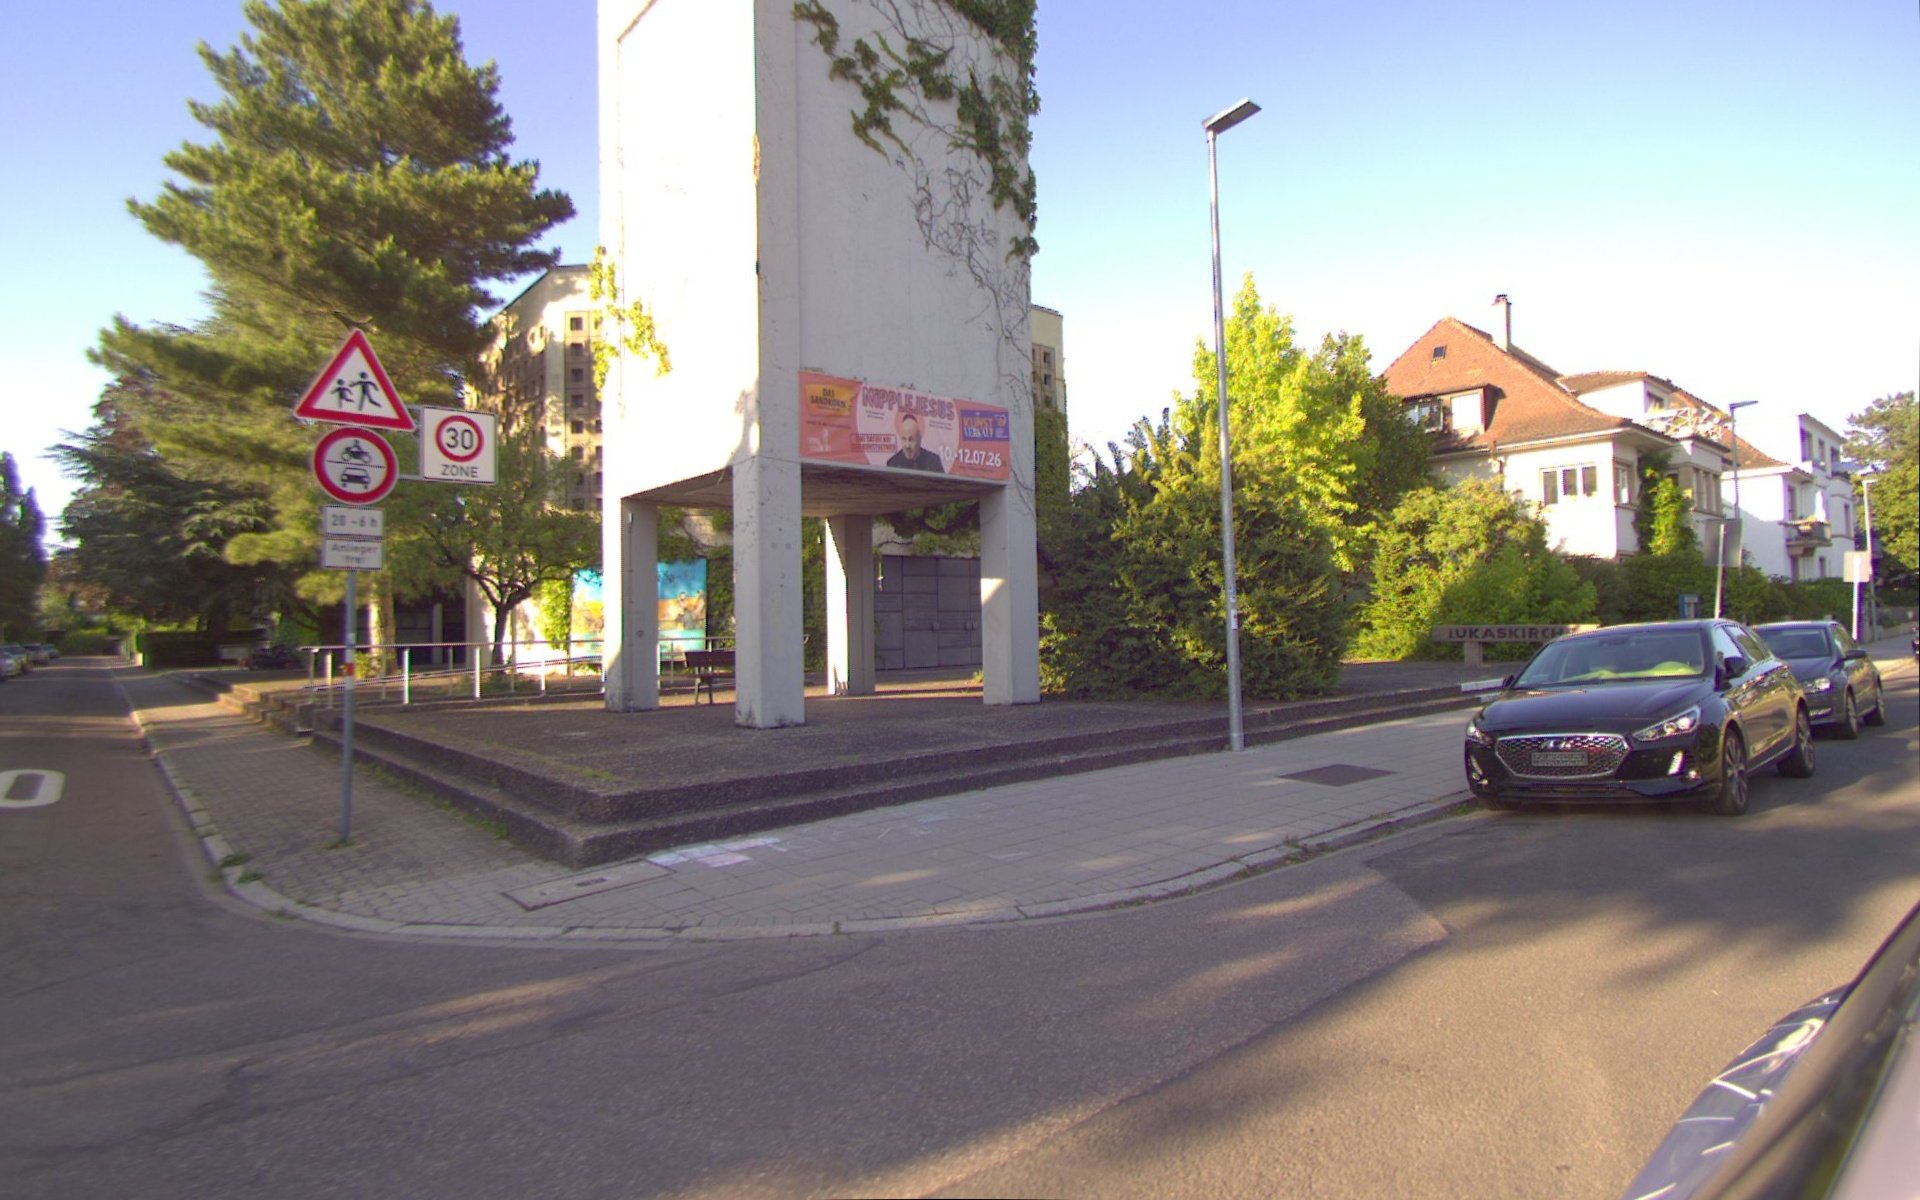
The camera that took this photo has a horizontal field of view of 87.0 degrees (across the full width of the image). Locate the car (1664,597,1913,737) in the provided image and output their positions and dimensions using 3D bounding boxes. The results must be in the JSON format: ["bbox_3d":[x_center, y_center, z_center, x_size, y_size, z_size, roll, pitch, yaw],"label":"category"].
[{"bbox_3d":[10.852,0.842,13.166,4.101,1.548,1.689,1,-6,-41],"label":"car"}]

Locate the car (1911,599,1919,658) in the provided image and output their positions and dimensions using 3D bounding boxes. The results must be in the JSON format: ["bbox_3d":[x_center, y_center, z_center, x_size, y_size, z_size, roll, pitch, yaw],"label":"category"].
[{"bbox_3d":[29.503,0.684,29.542,4.803,1.618,1.995,-1,-5,-42],"label":"car"}]

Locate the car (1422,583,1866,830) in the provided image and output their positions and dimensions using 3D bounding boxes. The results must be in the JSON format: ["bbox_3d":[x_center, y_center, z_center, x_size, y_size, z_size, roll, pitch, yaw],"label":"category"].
[{"bbox_3d":[6.014,0.797,8.679,4.540,1.582,1.824,0,-8,-40],"label":"car"}]
